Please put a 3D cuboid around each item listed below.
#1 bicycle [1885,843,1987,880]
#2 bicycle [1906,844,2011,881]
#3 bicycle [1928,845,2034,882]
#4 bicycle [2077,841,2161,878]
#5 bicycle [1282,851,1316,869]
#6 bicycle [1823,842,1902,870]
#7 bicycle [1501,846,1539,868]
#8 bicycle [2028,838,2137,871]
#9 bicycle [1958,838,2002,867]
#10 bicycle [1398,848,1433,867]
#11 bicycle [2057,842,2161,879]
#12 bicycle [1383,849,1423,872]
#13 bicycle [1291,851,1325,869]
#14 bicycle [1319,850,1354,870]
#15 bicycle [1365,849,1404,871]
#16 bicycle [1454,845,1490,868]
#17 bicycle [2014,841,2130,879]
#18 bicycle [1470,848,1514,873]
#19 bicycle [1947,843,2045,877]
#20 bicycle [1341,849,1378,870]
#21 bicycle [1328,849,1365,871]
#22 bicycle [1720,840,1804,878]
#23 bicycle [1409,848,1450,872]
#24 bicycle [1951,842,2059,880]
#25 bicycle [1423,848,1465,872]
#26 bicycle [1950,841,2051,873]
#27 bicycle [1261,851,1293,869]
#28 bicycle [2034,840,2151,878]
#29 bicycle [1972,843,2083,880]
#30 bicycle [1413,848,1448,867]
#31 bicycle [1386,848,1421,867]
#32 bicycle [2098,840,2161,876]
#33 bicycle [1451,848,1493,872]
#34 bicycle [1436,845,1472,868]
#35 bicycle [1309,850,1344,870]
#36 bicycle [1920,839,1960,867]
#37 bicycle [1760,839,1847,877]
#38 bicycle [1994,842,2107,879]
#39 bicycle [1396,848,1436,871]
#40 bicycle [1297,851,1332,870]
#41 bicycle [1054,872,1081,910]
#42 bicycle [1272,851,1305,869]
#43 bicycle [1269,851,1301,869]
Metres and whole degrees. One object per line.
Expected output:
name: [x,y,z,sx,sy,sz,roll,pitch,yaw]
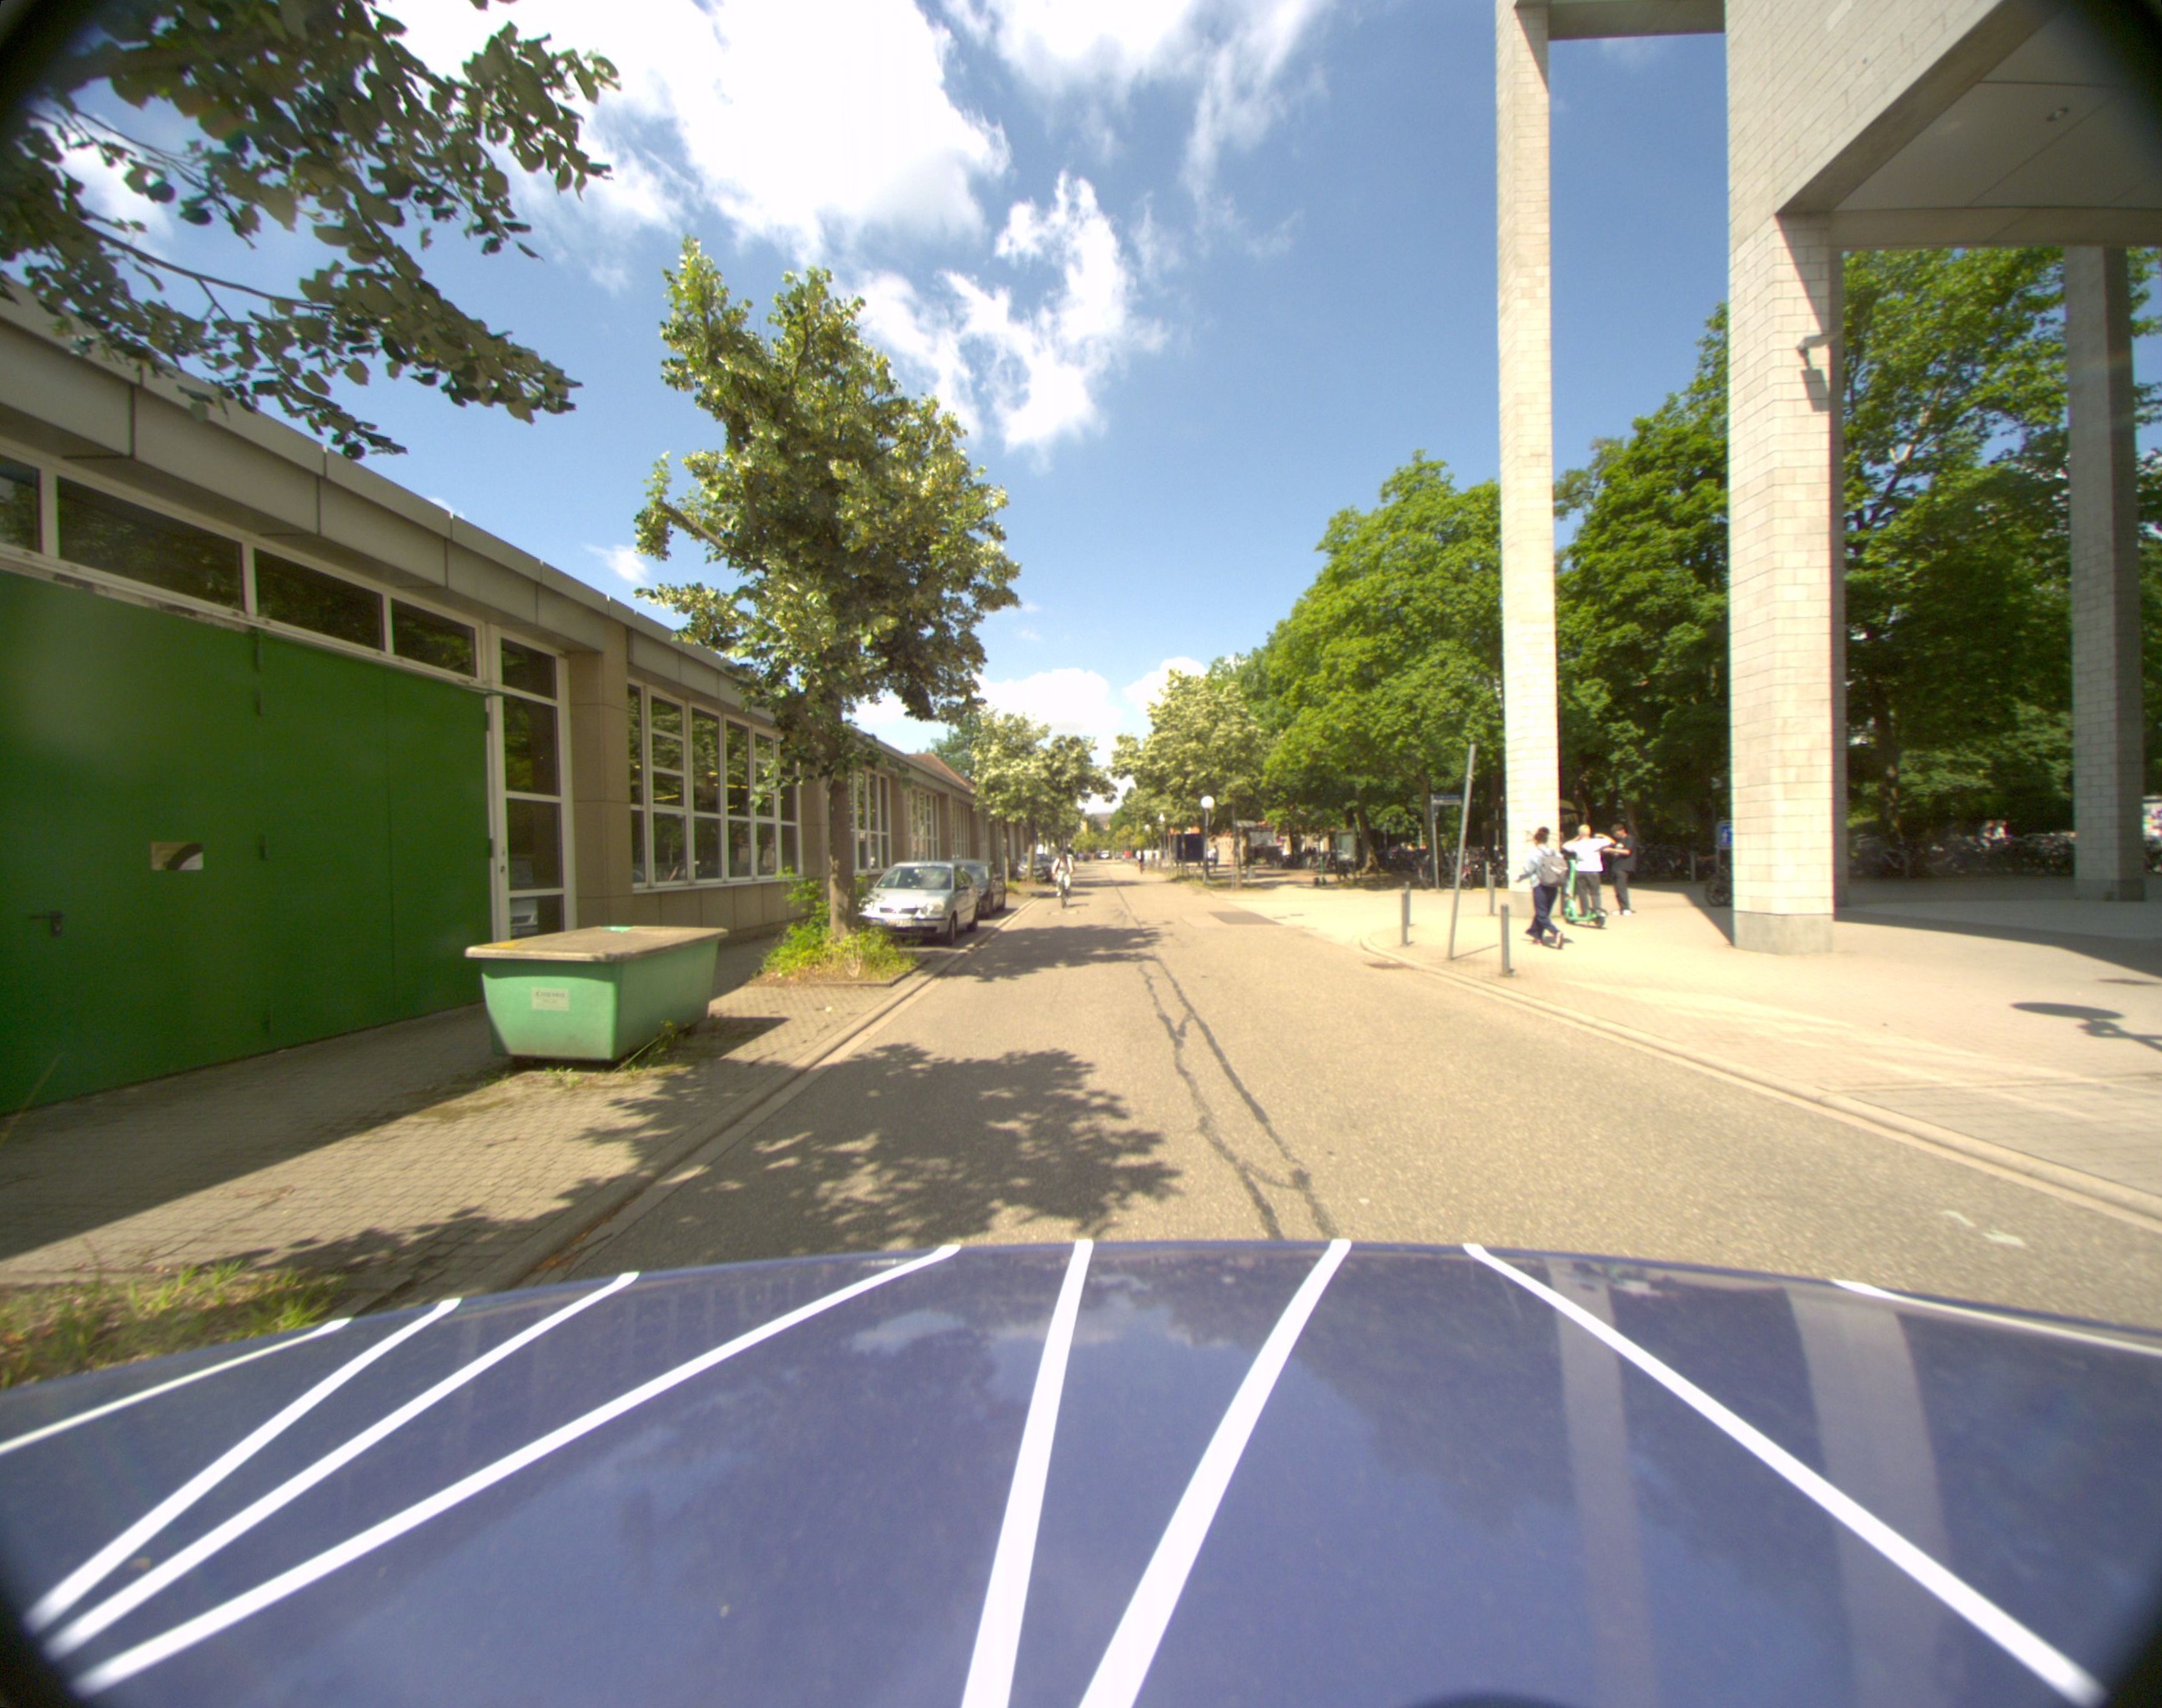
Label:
bicycle: [25.491,0.203,22.716,0.622,1.052,2.174,-2,1,1]
bicycle: [26.180,0.233,22.732,0.622,1.052,2.174,-2,1,1]
bicycle: [26.844,0.256,22.726,0.622,1.052,2.174,-2,1,1]
bicycle: [31.511,0.149,22.724,0.622,1.052,2.174,-2,1,1]
bicycle: [13.675,0.383,47.696,2.127,1.052,0.681,-2,1,-28]
bicycle: [31.533,0.077,30.697,0.623,1.052,2.171,-2,1,-17]
bicycle: [22.708,0.164,39.279,2.127,1.052,0.681,-2,1,-28]
bicycle: [34.214,0.021,26.016,0.623,1.052,2.171,-2,1,-17]
bicycle: [35.709,-0.072,30.214,0.621,1.052,2.179,-1,1,36]
bicycle: [19.466,0.207,44.164,2.127,1.052,0.681,-2,1,-28]
bicycle: [30.866,0.172,22.708,0.622,1.052,2.174,-2,1,1]
bicycle: [17.124,0.336,40.414,2.127,1.100,0.751,-2,1,-28]
bicycle: [14.040,0.377,47.047,2.127,1.052,0.681,-2,1,-28]
bicycle: [15.038,0.344,44.676,2.127,1.100,0.681,-2,1,-28]
bicycle: [16.599,0.324,41.492,2.127,1.100,0.751,-2,1,-28]
bicycle: [21.370,0.119,41.514,2.127,1.185,0.681,-2,1,-28]
bicycle: [29.497,0.162,22.680,0.622,1.052,2.174,-2,1,1]
bicycle: [19.425,0.286,35.890,2.127,1.100,0.751,-2,1,-28]
bicycle: [30.117,0.170,25.055,0.622,1.052,2.174,-2,1,1]
bicycle: [15.830,0.306,43.147,2.127,1.100,0.751,-2,1,-28]
bicycle: [15.395,0.336,44.006,2.127,1.151,0.751,-2,1,-28]
bicycle: [24.769,0.187,27.686,0.623,1.325,2.169,-3,1,-33]
bicycle: [17.887,0.303,38.969,2.127,1.100,0.751,-2,1,-28]
bicycle: [27.507,0.196,22.683,0.622,1.052,2.174,-2,1,1]
bicycle: [18.289,0.300,38.259,2.127,1.100,0.751,-2,1,-28]
bicycle: [32.133,0.085,26.610,0.623,1.052,2.171,-2,1,-17]
bicycle: [12.816,0.392,49.586,2.127,1.052,0.621,-2,1,-28]
bicycle: [30.165,0.124,22.726,0.622,1.052,2.174,-2,1,1]
bicycle: [28.177,0.206,22.690,0.622,1.052,2.174,-2,1,1]
bicycle: [19.992,0.197,43.423,2.127,1.052,0.681,-2,1,-28]
bicycle: [19.050,0.214,44.896,2.127,1.052,0.681,-2,1,-28]
bicycle: [32.182,0.111,22.732,0.622,1.052,2.174,-2,1,1]
bicycle: [18.965,0.291,36.849,2.127,1.100,0.751,-2,1,-28]
bicycle: [20.890,0.125,42.498,2.127,1.185,0.681,-2,1,-28]
bicycle: [14.670,0.349,45.329,2.127,1.100,0.681,-2,1,-28]
bicycle: [34.974,-0.055,30.954,0.621,1.052,2.179,-1,1,36]
bicycle: [25.973,0.150,27.358,0.623,1.325,2.169,-3,1,-33]
bicycle: [28.839,0.177,22.665,0.622,1.052,2.174,-2,1,1]
bicycle: [17.506,0.301,39.653,2.127,1.100,0.751,-2,1,-28]
bicycle: [14.206,0.380,46.218,2.127,1.052,0.681,-2,1,-28]
bicycle: [-0.400,1.092,22.903,0.781,1.042,1.912,-1,0,-1]
bicycle: [13.180,0.394,48.218,2.127,1.052,0.621,-2,1,-28]
bicycle: [13.154,0.388,48.901,2.127,1.052,0.621,-2,1,-28]
